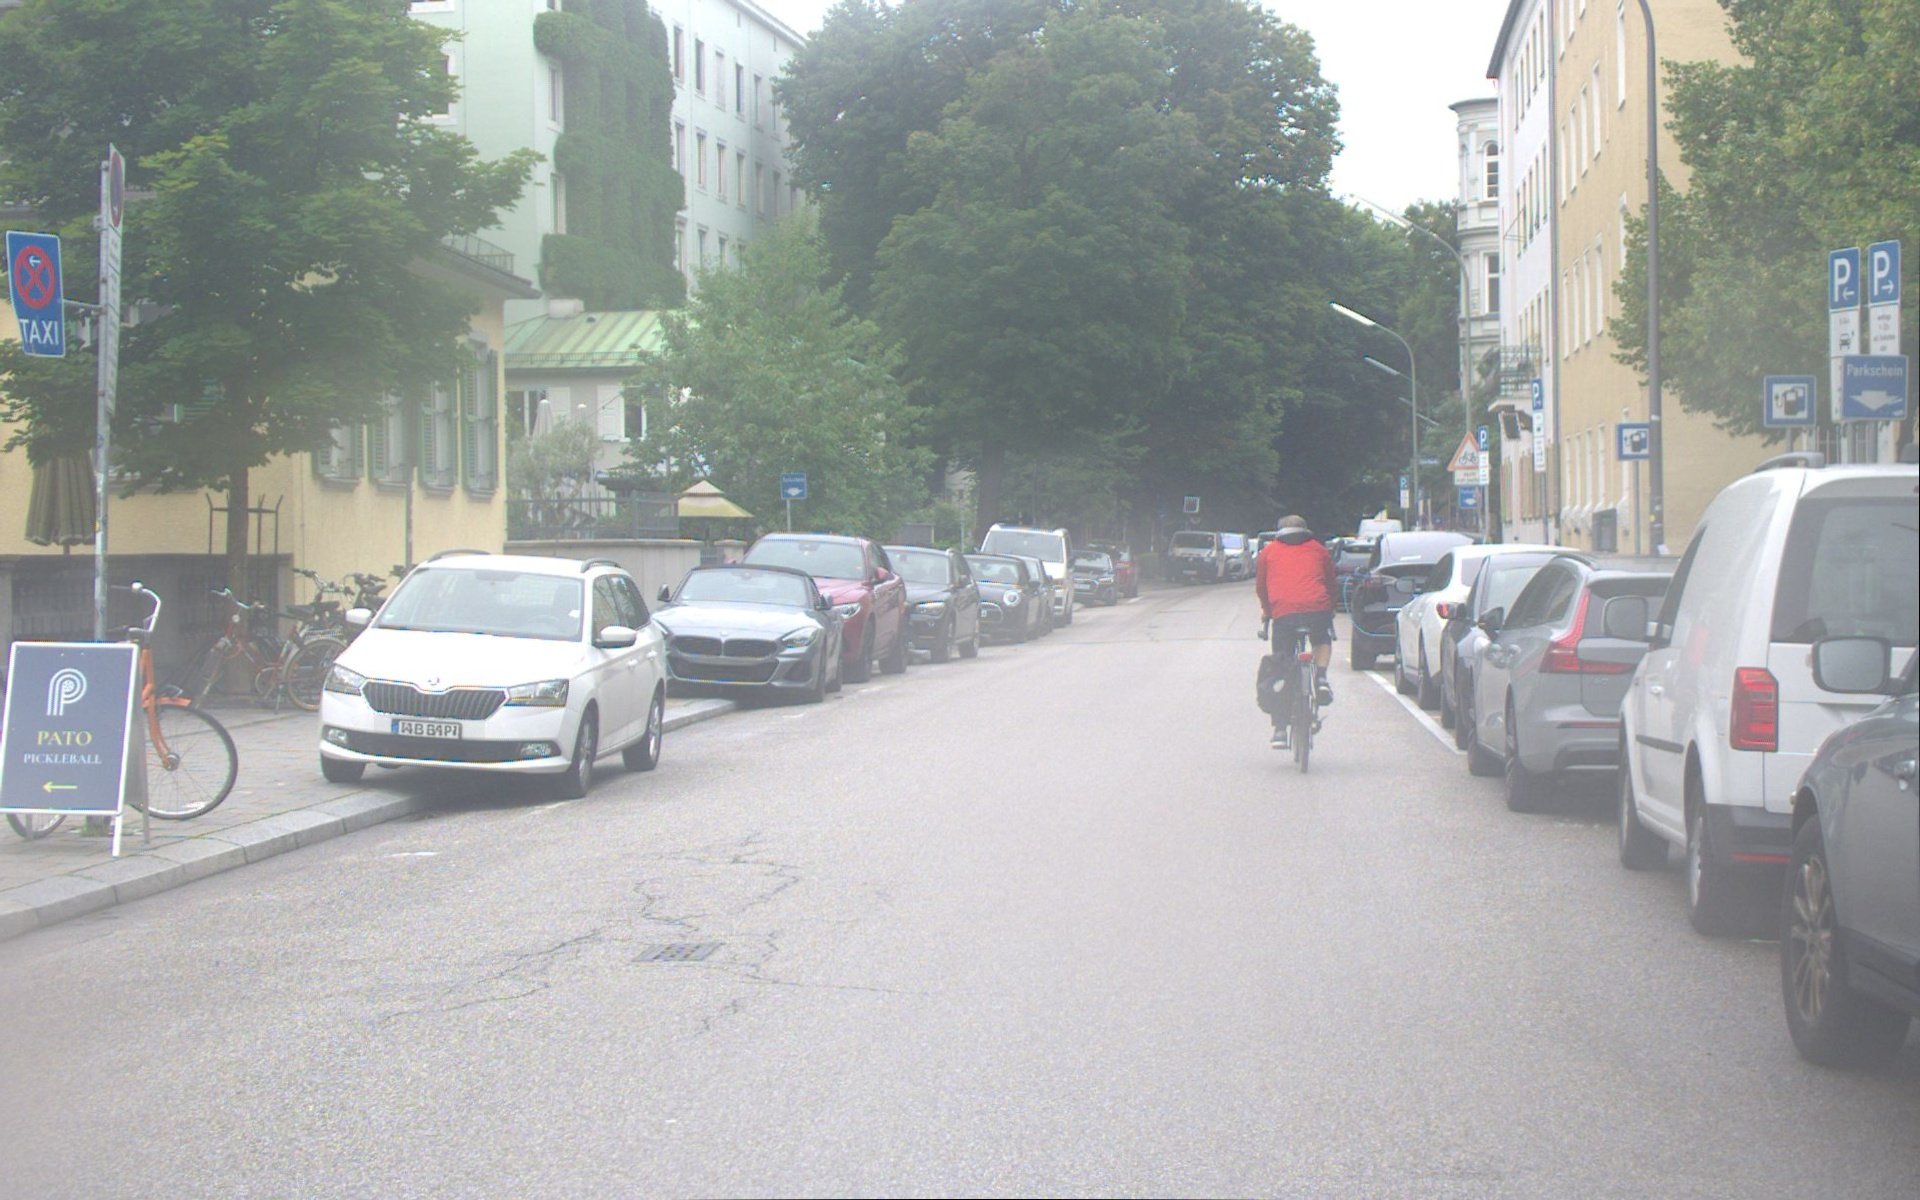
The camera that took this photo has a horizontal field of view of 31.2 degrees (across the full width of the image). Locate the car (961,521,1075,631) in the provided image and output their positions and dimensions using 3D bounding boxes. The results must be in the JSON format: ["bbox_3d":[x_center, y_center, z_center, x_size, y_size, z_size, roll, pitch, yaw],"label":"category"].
[{"bbox_3d":[1.160,-0.492,66.585,1.994,2.072,4.000,0,1,4],"label":"car"}]

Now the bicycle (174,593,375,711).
[{"bbox_3d":[-6.092,0.454,30.574,1.613,1.001,0.623,-1,0,-33],"label":"bicycle"}]

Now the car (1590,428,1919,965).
[{"bbox_3d":[3.736,0.304,14.464,1.750,1.936,4.227,0,1,5],"label":"car"}]

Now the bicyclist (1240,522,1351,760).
[{"bbox_3d":[2.154,0.264,22.161,0.672,1.492,1.094,0,-1,4],"label":"bicyclist"}]

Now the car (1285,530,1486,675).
[{"bbox_3d":[4.949,-0.008,40.464,1.993,1.612,4.000,0,1,2],"label":"car"}]

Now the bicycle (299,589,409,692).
[{"bbox_3d":[-6.065,0.404,34.457,0.622,1.001,1.618,0,0,7],"label":"bicycle"}]

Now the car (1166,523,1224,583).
[{"bbox_3d":[8.653,-1.748,126.793,1.994,2.091,4.000,3,1,4],"label":"car"}]

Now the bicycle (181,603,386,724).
[{"bbox_3d":[-5.760,0.532,29.276,1.613,1.001,0.624,0,-1,-23],"label":"bicycle"}]

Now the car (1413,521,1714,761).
[{"bbox_3d":[4.461,0.247,25.908,1.863,1.670,3.902,0,1,5],"label":"car"}]

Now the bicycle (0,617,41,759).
[{"bbox_3d":[-6.892,0.578,22.517,1.613,0.922,0.651,0,-1,-23],"label":"bicycle"}]

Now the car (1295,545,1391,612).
[{"bbox_3d":[9.183,-0.536,82.609,1.993,1.546,4.000,0,1,2],"label":"car"}]

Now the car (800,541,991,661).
[{"bbox_3d":[-0.835,-0.021,47.192,1.994,1.481,3.999,2,1,8],"label":"car"}]

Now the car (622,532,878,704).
[{"bbox_3d":[-2.064,0.133,35.173,1.994,1.643,4.655,0,1,4],"label":"car"}]

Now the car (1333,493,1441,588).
[{"bbox_3d":[9.547,-1.332,77.166,1.993,2.053,4.624,0,1,2],"label":"car"}]

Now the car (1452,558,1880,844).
[{"bbox_3d":[3.968,0.497,19.996,1.863,1.435,4.255,1,1,4],"label":"car"}]

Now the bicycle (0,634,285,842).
[{"bbox_3d":[-4.589,0.703,18.159,0.623,1.000,2.136,3,2,35],"label":"bicycle"}]

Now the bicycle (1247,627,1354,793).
[{"bbox_3d":[2.161,0.678,22.000,0.621,1.001,2.140,0,0,4],"label":"bicycle"}]

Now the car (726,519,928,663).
[{"bbox_3d":[-1.499,-0.106,40.225,1.994,1.597,4.000,0,0,3],"label":"car"}]

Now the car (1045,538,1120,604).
[{"bbox_3d":[3.213,-0.772,89.284,1.810,1.677,4.000,0,1,4],"label":"car"}]

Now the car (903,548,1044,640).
[{"bbox_3d":[0.265,-0.128,58.034,1.994,1.481,3.999,0,1,6],"label":"car"}]

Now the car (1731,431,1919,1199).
[{"bbox_3d":[3.136,0.497,8.278,1.863,1.787,4.509,0,1,4],"label":"car"}]

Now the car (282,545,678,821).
[{"bbox_3d":[-3.053,0.468,22.615,1.734,1.576,3.787,3,1,5],"label":"car"}]

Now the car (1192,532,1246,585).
[{"bbox_3d":[10.441,-1.665,138.283,1.994,2.007,3.999,3,0,5],"label":"car"}]

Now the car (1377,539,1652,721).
[{"bbox_3d":[4.994,0.218,31.475,1.993,1.546,4.000,0,1,2],"label":"car"}]
